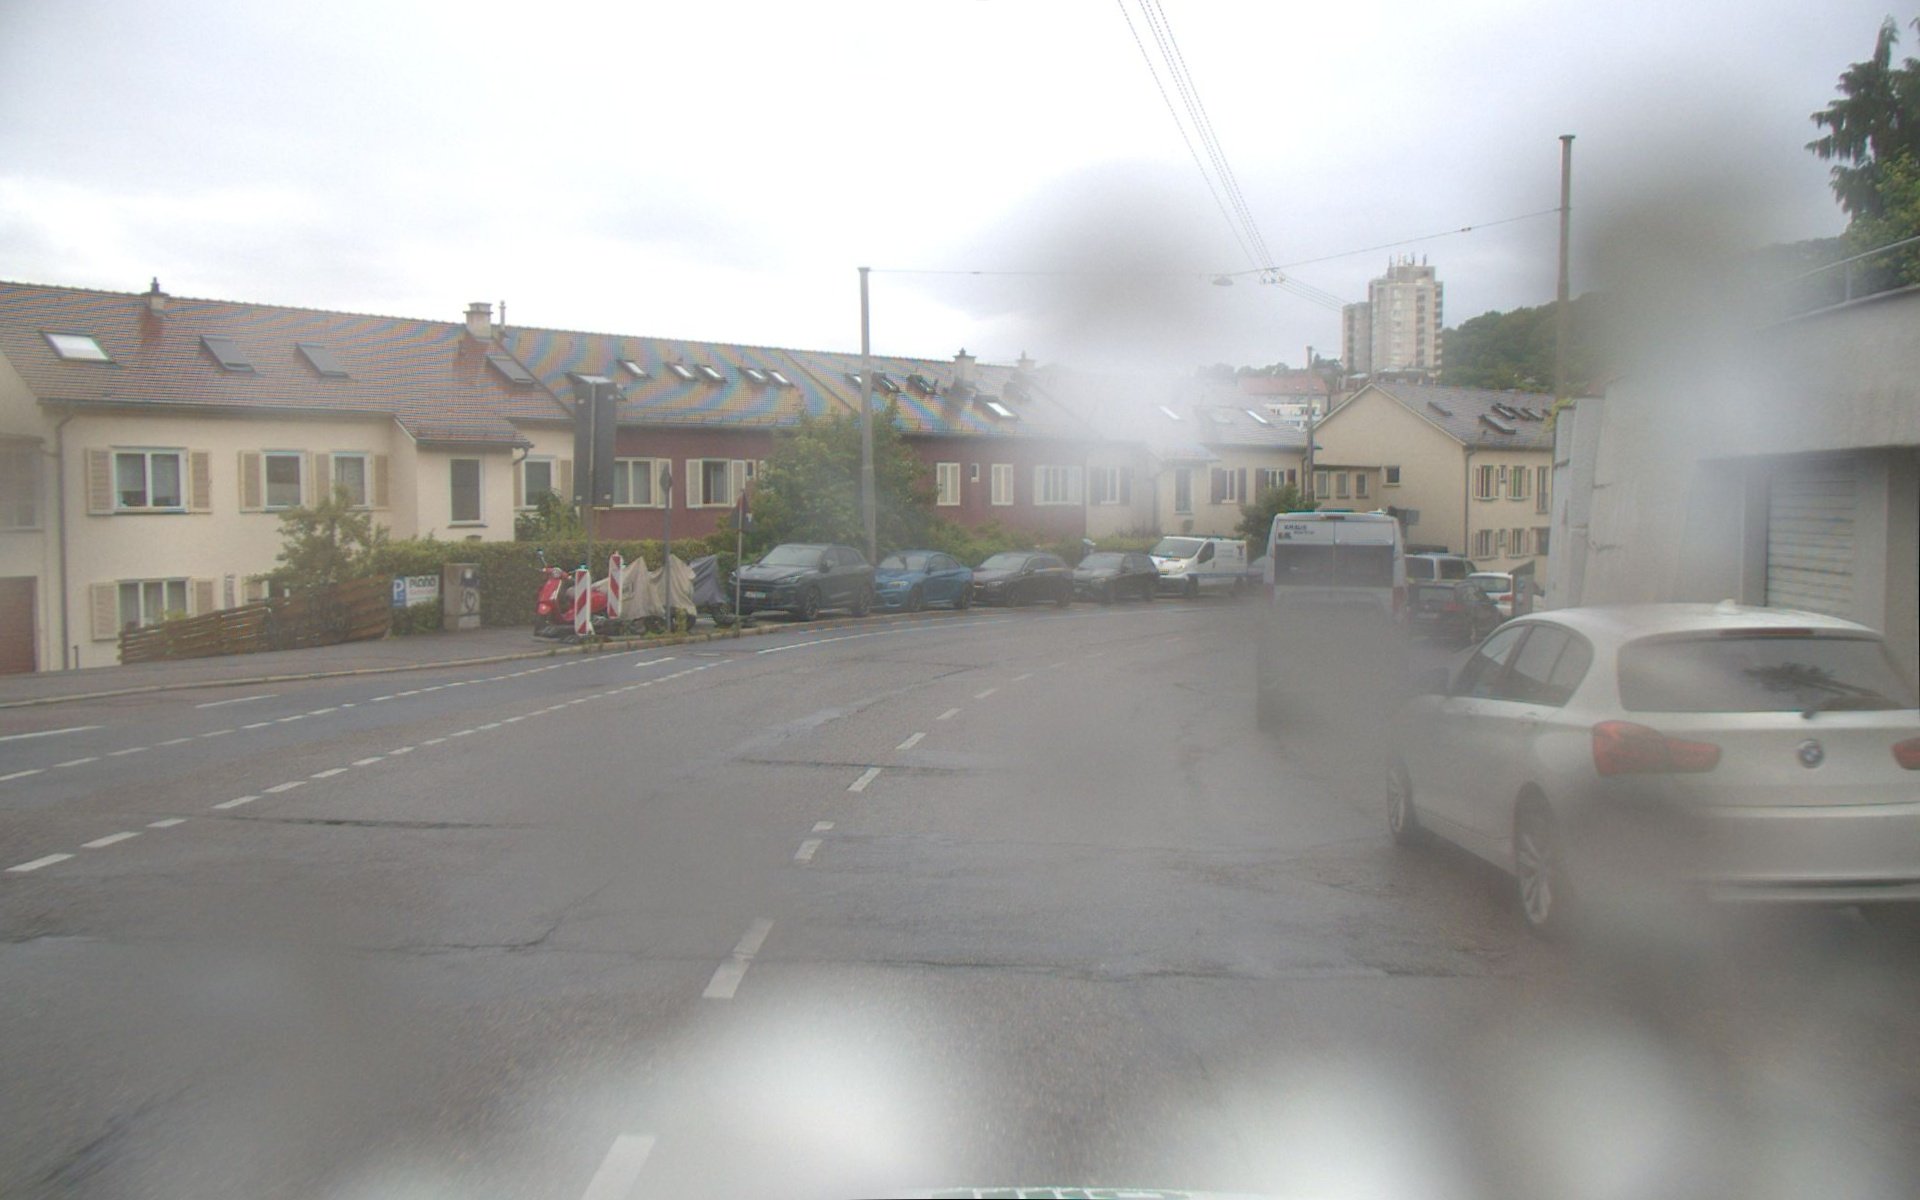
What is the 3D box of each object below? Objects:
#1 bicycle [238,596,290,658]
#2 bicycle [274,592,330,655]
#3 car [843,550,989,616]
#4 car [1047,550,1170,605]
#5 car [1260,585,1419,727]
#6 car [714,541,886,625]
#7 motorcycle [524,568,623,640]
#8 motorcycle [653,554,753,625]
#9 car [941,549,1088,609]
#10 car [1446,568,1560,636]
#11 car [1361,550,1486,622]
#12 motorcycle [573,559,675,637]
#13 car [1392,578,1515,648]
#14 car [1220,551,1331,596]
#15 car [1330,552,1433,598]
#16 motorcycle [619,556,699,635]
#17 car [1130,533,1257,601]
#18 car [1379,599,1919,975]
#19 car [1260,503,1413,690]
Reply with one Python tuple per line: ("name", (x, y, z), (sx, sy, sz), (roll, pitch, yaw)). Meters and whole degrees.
("bicycle", (-12.557, 0.498, 29.850), (1.303, 1.053, 0.303), (-4, -4, 40))
("bicycle", (-11.515, 0.422, 28.938), (1.278, 1.053, 0.304), (-4, -4, 38))
("car", (-1.018, -0.471, 40.687), (1.666, 1.428, 4.469), (4, 4, 26))
("car", (4.561, -0.696, 50.184), (1.776, 1.502, 4.510), (4, 3, 33))
("car", (4.607, 0.593, 20.367), (1.716, 1.522, 4.188), (0, 1, 11))
("car", (-3.394, -0.419, 35.999), (1.883, 1.604, 4.388), (4, 3, 22))
("motorcycle", (-6.531, 0.051, 28.076), (0.499, 1.159, 1.920), (0, 2, 27))
("motorcycle", (-4.986, -0.207, 32.060), (1.866, 1.293, 0.574), (2, 3, -11))
("car", (1.556, -0.589, 45.471), (1.778, 1.502, 4.505), (4, 3, 36))
("car", (14.706, 0.010, 44.671), (1.772, 1.677, 4.196), (3, 3, 34))
("car", (14.169, -0.465, 50.413), (2.270, 1.972, 4.310), (4, 4, 35))
("motorcycle", (-6.039, -0.051, 29.701), (1.764, 1.301, 0.511), (2, 2, 21))
("car", (11.872, 0.273, 39.648), (1.649, 1.509, 4.189), (4, 2, 33))
("car", (11.385, -0.939, 59.504), (1.783, 1.502, 4.493), (5, 3, 43))
("car", (16.809, -0.985, 65.829), (1.903, 1.659, 4.646), (5, 3, 43))
("motorcycle", (-5.578, -0.096, 30.591), (0.608, 1.325, 1.781), (0, 4, -41))
("car", (7.821, -1.089, 54.996), (1.820, 2.114, 4.996), (4, 3, 39))
("car", (3.409, 0.721, 8.382), (1.670, 1.439, 4.042), (0, 0, 2))
("car", (5.984, -0.073, 25.821), (2.054, 2.587, 5.624), (0, 0, 16))
